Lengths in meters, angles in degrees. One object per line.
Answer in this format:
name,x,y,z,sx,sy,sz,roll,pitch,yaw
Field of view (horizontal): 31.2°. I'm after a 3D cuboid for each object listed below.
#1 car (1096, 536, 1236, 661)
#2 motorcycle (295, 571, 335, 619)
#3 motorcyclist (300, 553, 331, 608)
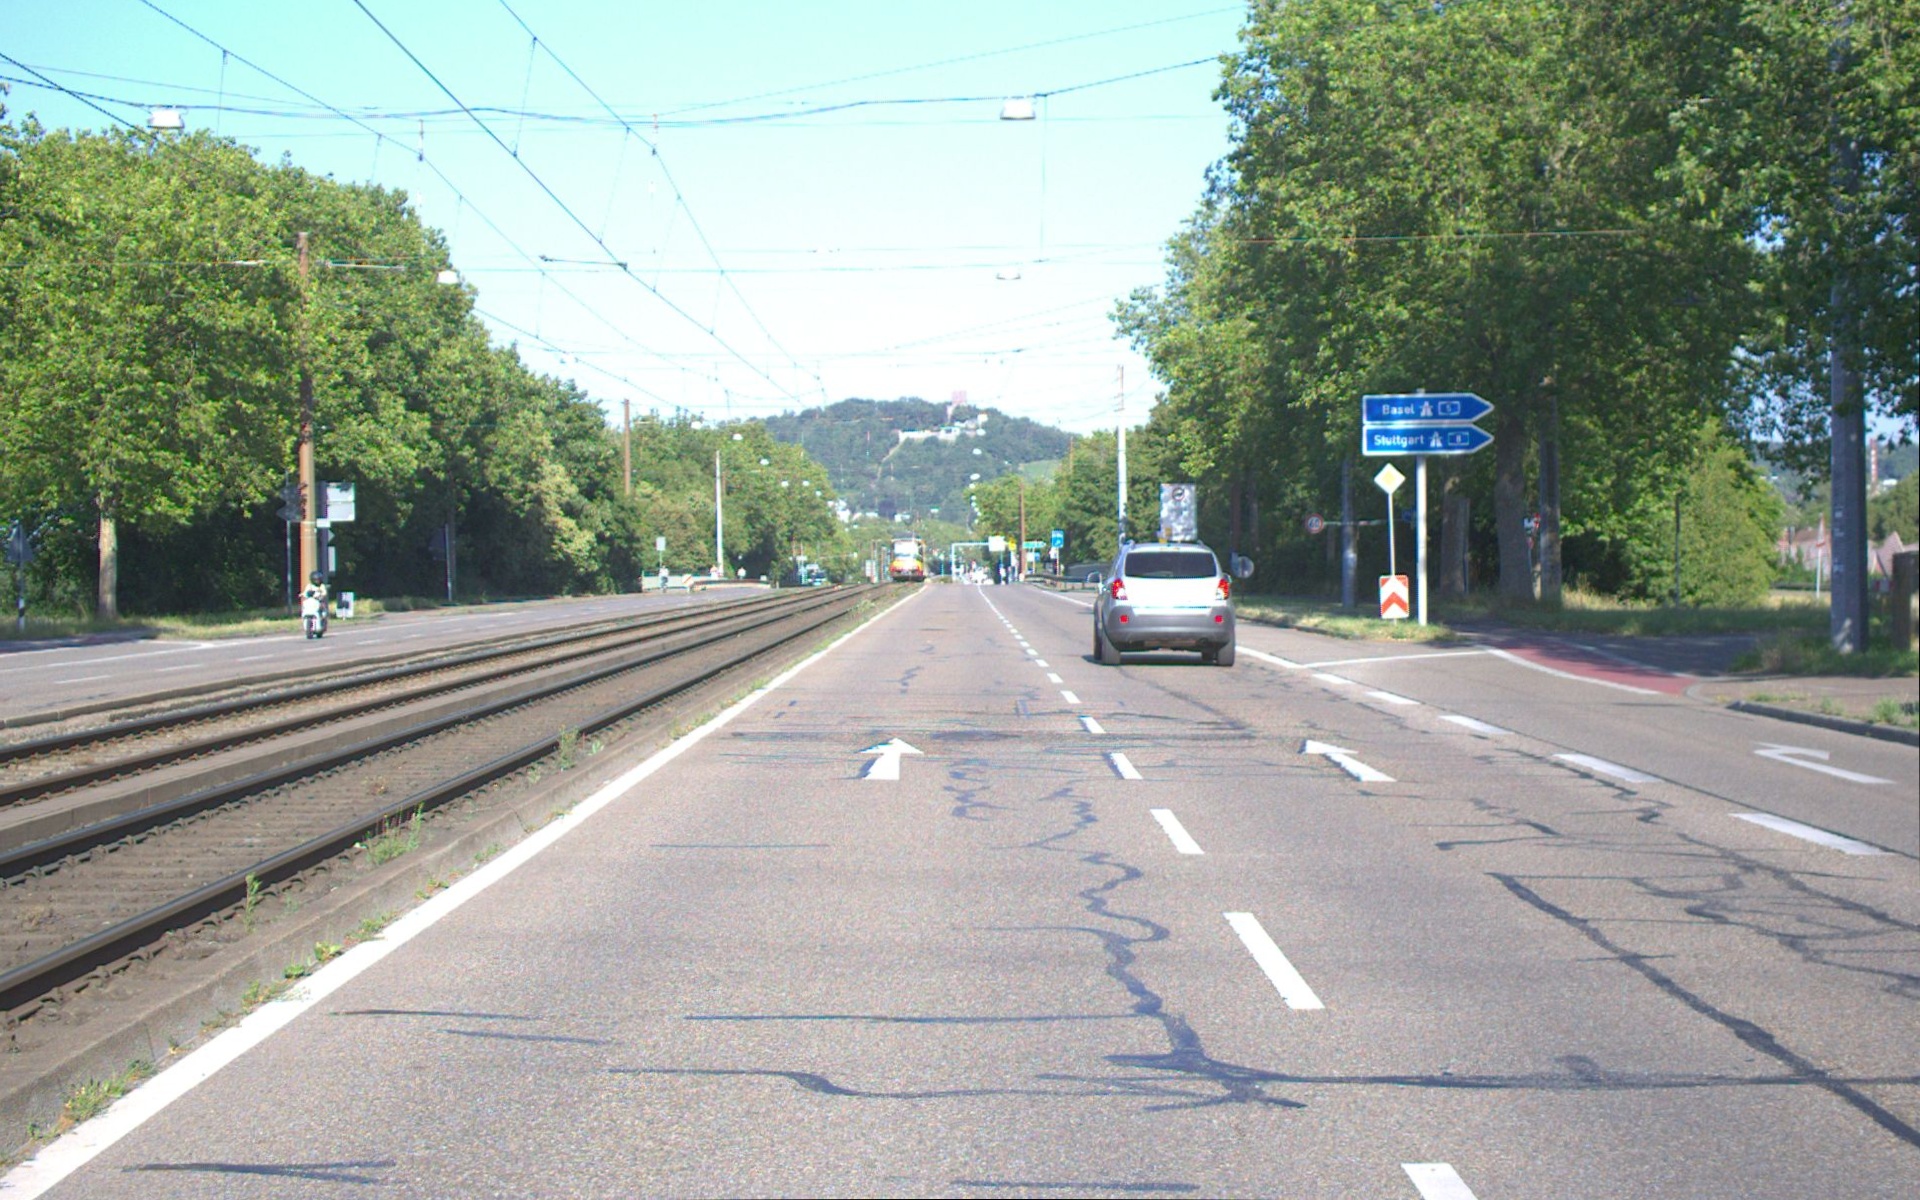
car,2.883,-0.033,48.747,1.888,1.688,4.256,0,0,2
motorcycle,-14.915,-0.111,79.529,0.535,1.087,1.902,1,0,0
motorcyclist,-14.913,-0.451,79.516,0.535,1.266,0.805,1,0,0
